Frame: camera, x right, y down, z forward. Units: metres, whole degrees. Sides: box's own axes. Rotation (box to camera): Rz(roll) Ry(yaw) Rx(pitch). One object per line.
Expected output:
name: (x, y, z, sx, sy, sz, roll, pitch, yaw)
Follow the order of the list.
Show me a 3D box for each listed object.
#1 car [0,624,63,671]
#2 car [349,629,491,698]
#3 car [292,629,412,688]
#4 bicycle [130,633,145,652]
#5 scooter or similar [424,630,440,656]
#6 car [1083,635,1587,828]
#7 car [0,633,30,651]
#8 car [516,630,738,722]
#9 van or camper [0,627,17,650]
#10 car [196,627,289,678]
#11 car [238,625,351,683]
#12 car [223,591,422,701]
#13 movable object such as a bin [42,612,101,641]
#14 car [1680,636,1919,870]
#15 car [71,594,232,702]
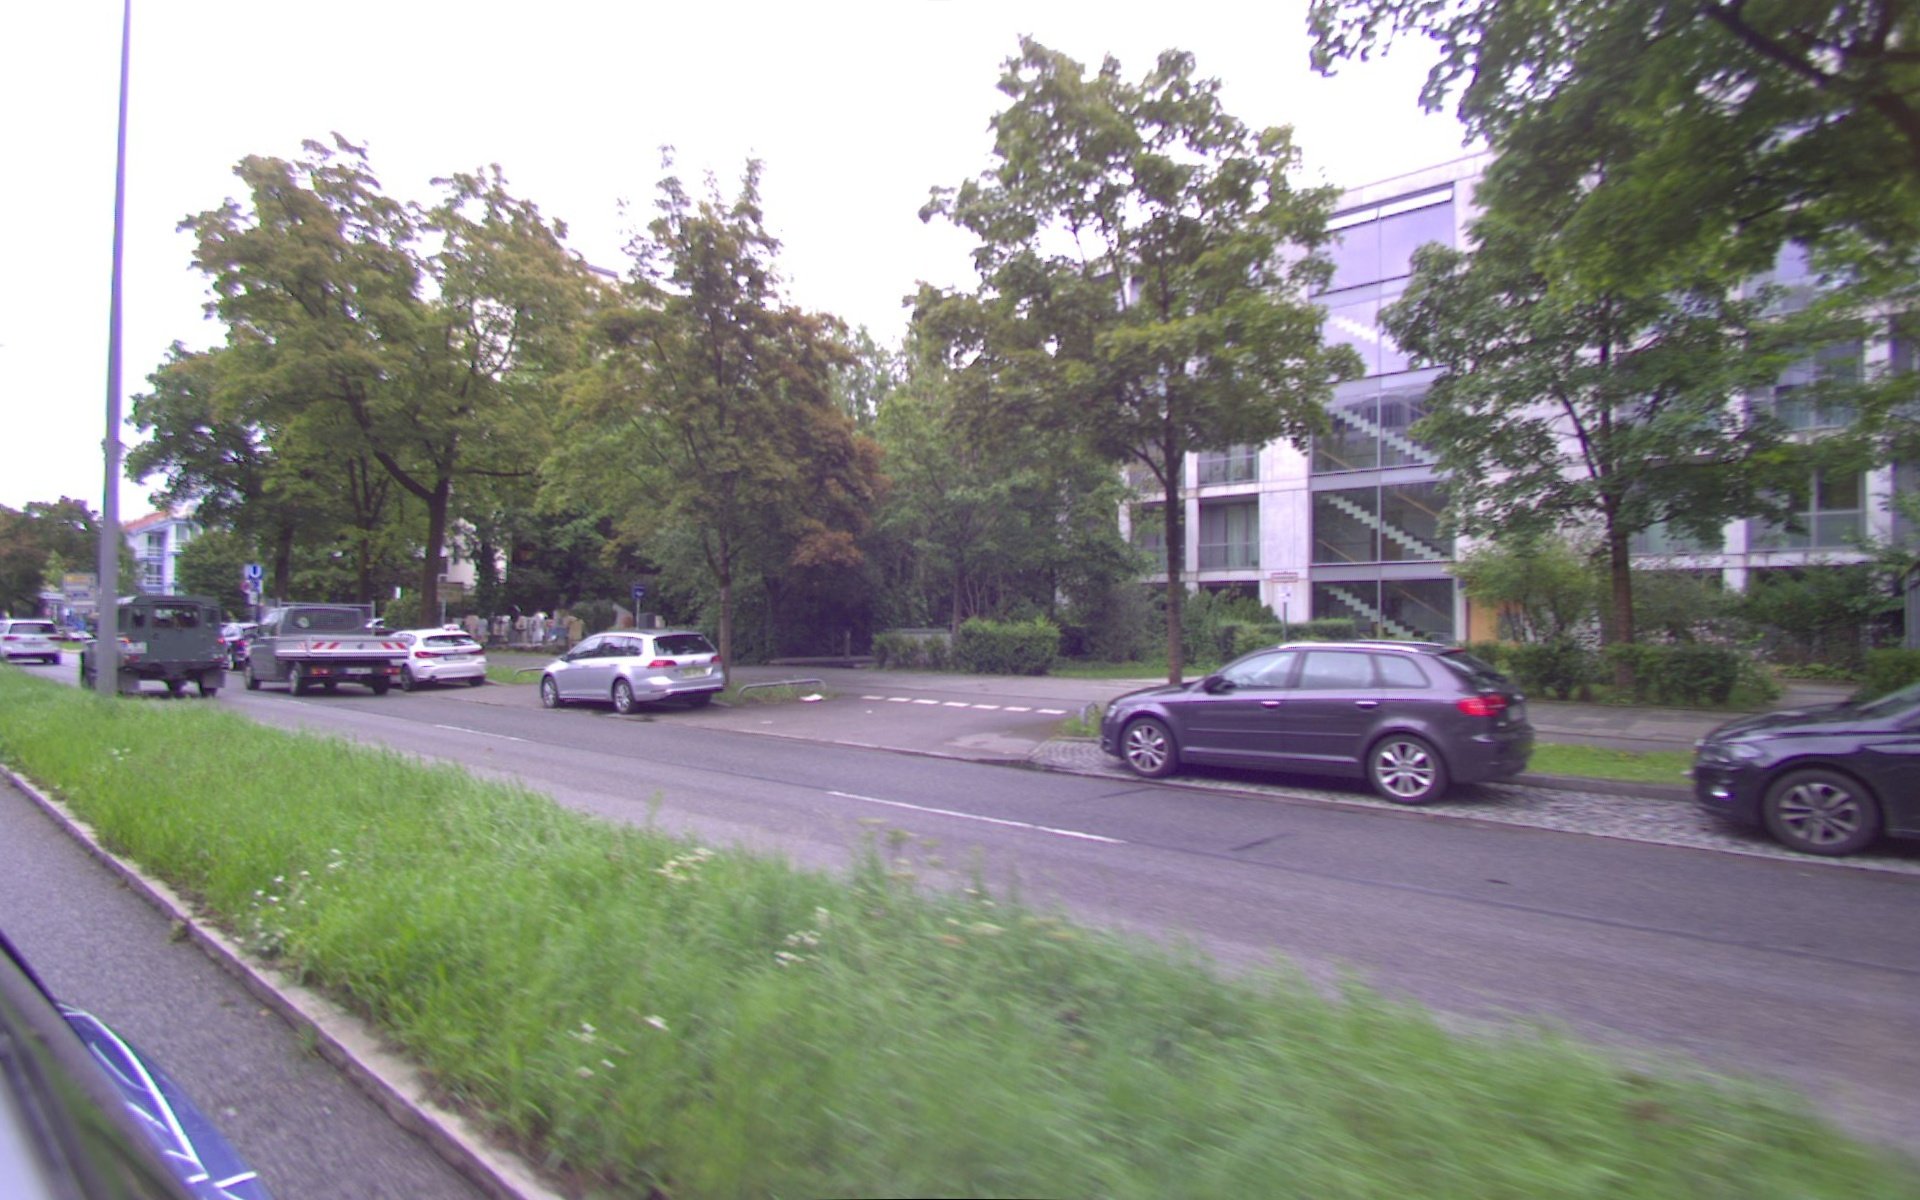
car: (-35.282, 1.759, 38.005, 4.348, 1.655, 1.815, -2, -3, 41)
car: (-13.636, 1.538, 25.432, 4.474, 1.541, 1.720, -2, -1, 42)
car: (-17.361, 1.611, 28.817, 4.332, 1.494, 1.720, -2, 0, 42)
bicycle: (-48.761, 2.538, 59.989, 1.954, 1.086, 0.403, -2, 1, 44)
scooter or similar: (-23.507, 1.928, 45.075, 0.429, 1.135, 1.292, 2, -3, -36)
car: (3.481, 1.100, 9.949, 4.360, 1.434, 1.564, -2, 0, 41)
car: (-79.539, 3.499, 84.951, 3.898, 1.501, 1.631, -1, -3, 40)
car: (-6.373, 1.335, 19.065, 4.820, 1.459, 1.718, -2, 0, 41)
van or camper: (-87.130, 3.470, 91.777, 5.208, 1.983, 1.786, -2, -3, 41)
car: (-25.572, 1.817, 36.005, 4.683, 1.656, 1.720, -2, -1, 42)
car: (-21.240, 1.669, 32.244, 4.602, 1.664, 1.721, -2, 0, 40)
car: (-14.624, 1.046, 23.063, 5.796, 2.211, 2.186, -2, -4, 41)
movable object such as a bin: (-61.616, 1.839, 70.176, 3.991, 1.968, 2.174, -1, -3, 36)
car: (7.376, 0.998, 6.604, 4.191, 1.434, 1.608, -2, 0, 42)
car: (-17.079, 0.982, 21.300, 4.815, 2.045, 1.762, -2, -3, 41)
